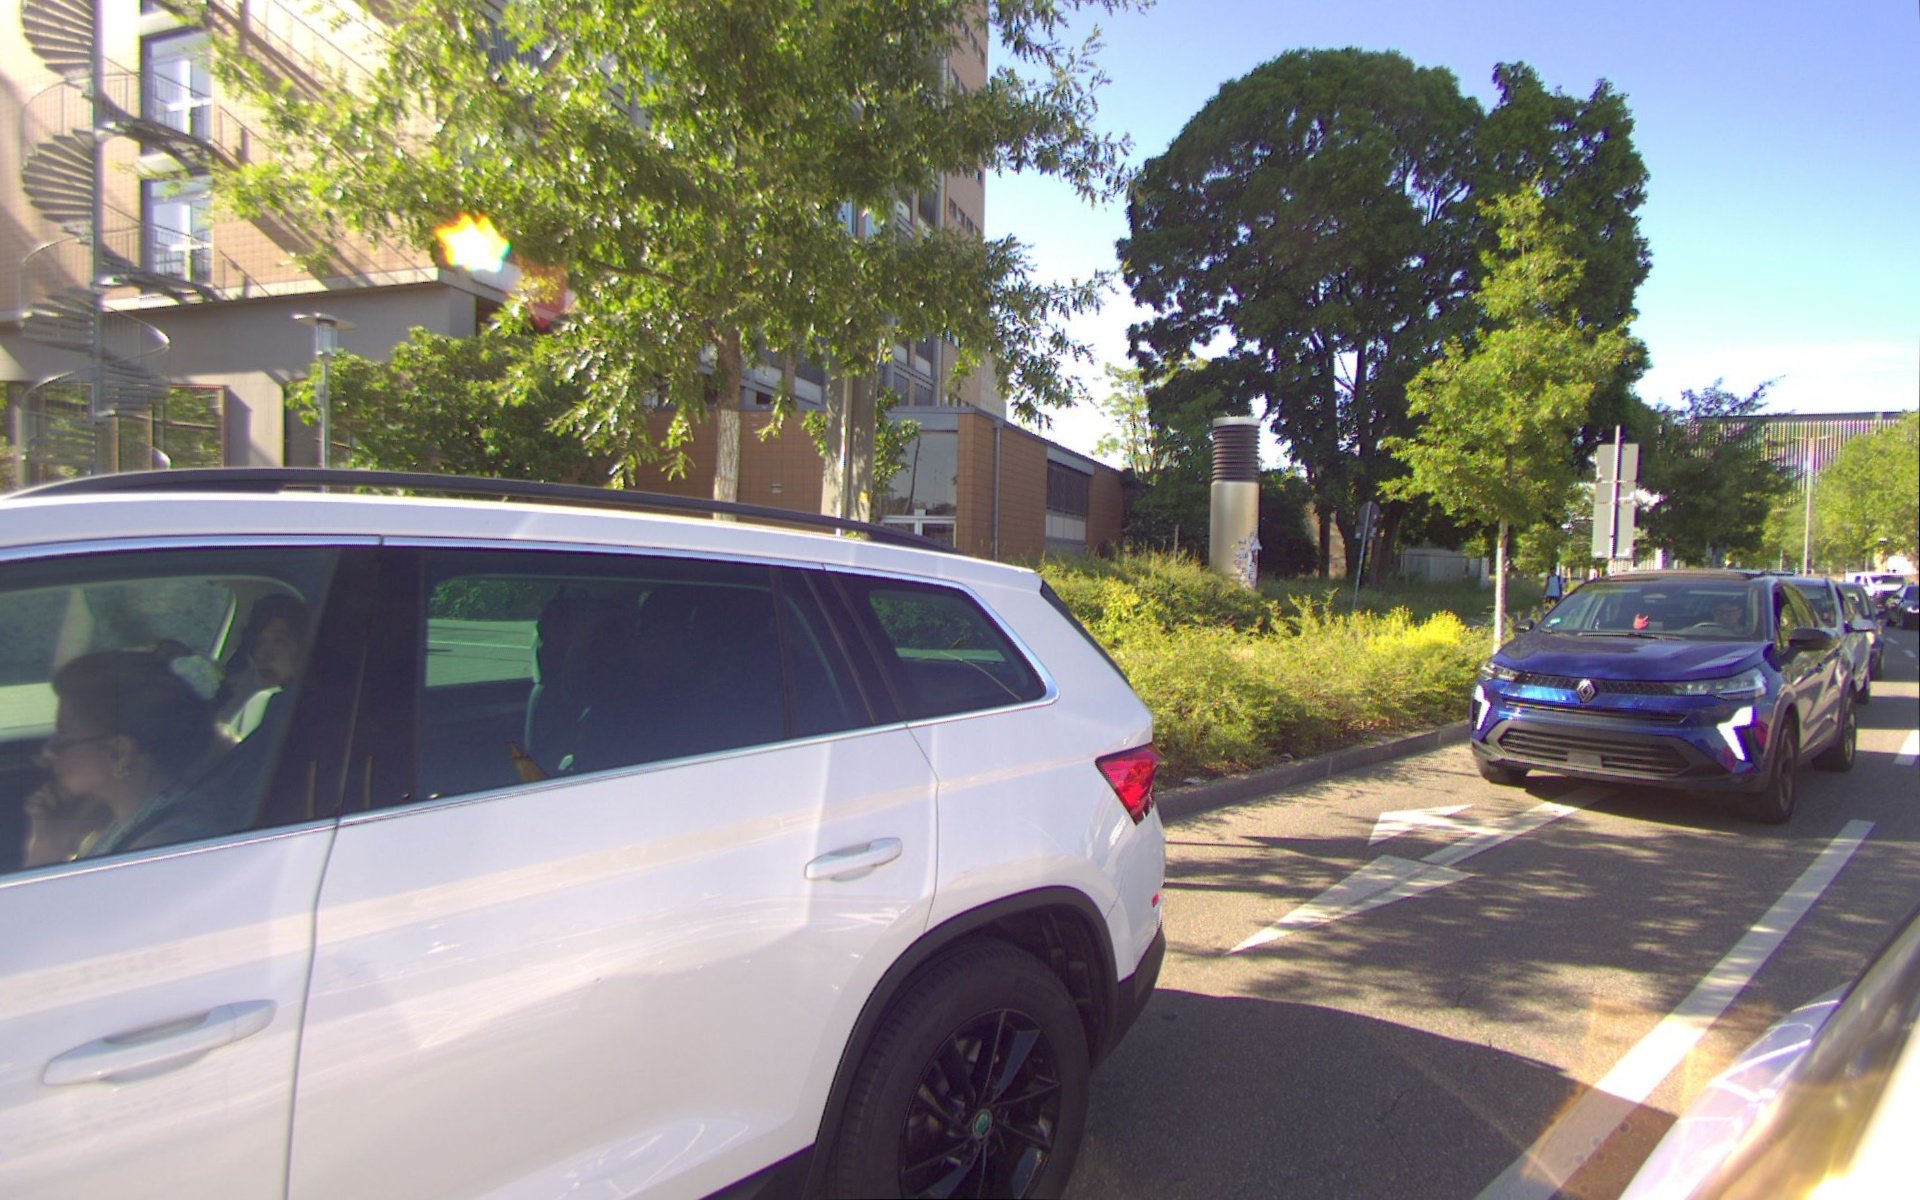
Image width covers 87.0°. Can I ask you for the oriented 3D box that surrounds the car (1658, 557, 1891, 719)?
[{"bbox_3d":[10.108,0.337,12.448,3.978,1.644,1.782,-1,3,-45],"label":"car"}]

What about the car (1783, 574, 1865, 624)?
[{"bbox_3d":[27.993,-0.075,32.878,1.742,1.494,3.528,0,1,36],"label":"car"}]

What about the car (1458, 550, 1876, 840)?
[{"bbox_3d":[5.476,0.487,7.639,4.014,1.625,1.703,-1,2,-42],"label":"car"}]

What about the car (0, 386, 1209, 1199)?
[{"bbox_3d":[-1.504,0.575,1.776,4.224,1.662,1.697,-1,2,-42],"label":"car"}]

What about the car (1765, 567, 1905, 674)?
[{"bbox_3d":[15.059,0.269,17.399,1.646,1.630,3.436,3,3,43],"label":"car"}]

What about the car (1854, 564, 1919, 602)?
[{"bbox_3d":[52.268,-1.000,56.826,1.767,2.038,4.202,0,2,22],"label":"car"}]

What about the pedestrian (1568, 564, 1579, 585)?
[{"bbox_3d":[55.319,-2.286,91.236,0.815,1.941,0.764,0,1,30],"label":"pedestrian"}]

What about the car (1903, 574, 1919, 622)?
[{"bbox_3d":[31.800,-0.079,32.502,1.872,1.499,3.945,1,1,38],"label":"car"}]

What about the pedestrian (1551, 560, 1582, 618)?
[{"bbox_3d":[17.342,-0.312,28.939,0.688,1.624,0.653,2,2,35],"label":"pedestrian"}]

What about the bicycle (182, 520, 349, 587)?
[{"bbox_3d":[-15.453,-1.026,22.674,0.790,1.394,3.112,1,2,26],"label":"bicycle"}]

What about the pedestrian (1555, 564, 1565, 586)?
[{"bbox_3d":[54.409,-2.287,91.764,0.815,1.941,0.764,0,1,30],"label":"pedestrian"}]

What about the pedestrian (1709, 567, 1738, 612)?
[{"bbox_3d":[28.030,-0.411,37.175,0.654,1.624,0.687,2,2,24],"label":"pedestrian"}]

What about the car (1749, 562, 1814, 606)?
[{"bbox_3d":[37.385,-0.762,46.110,1.815,1.876,3.709,2,2,32],"label":"car"}]
